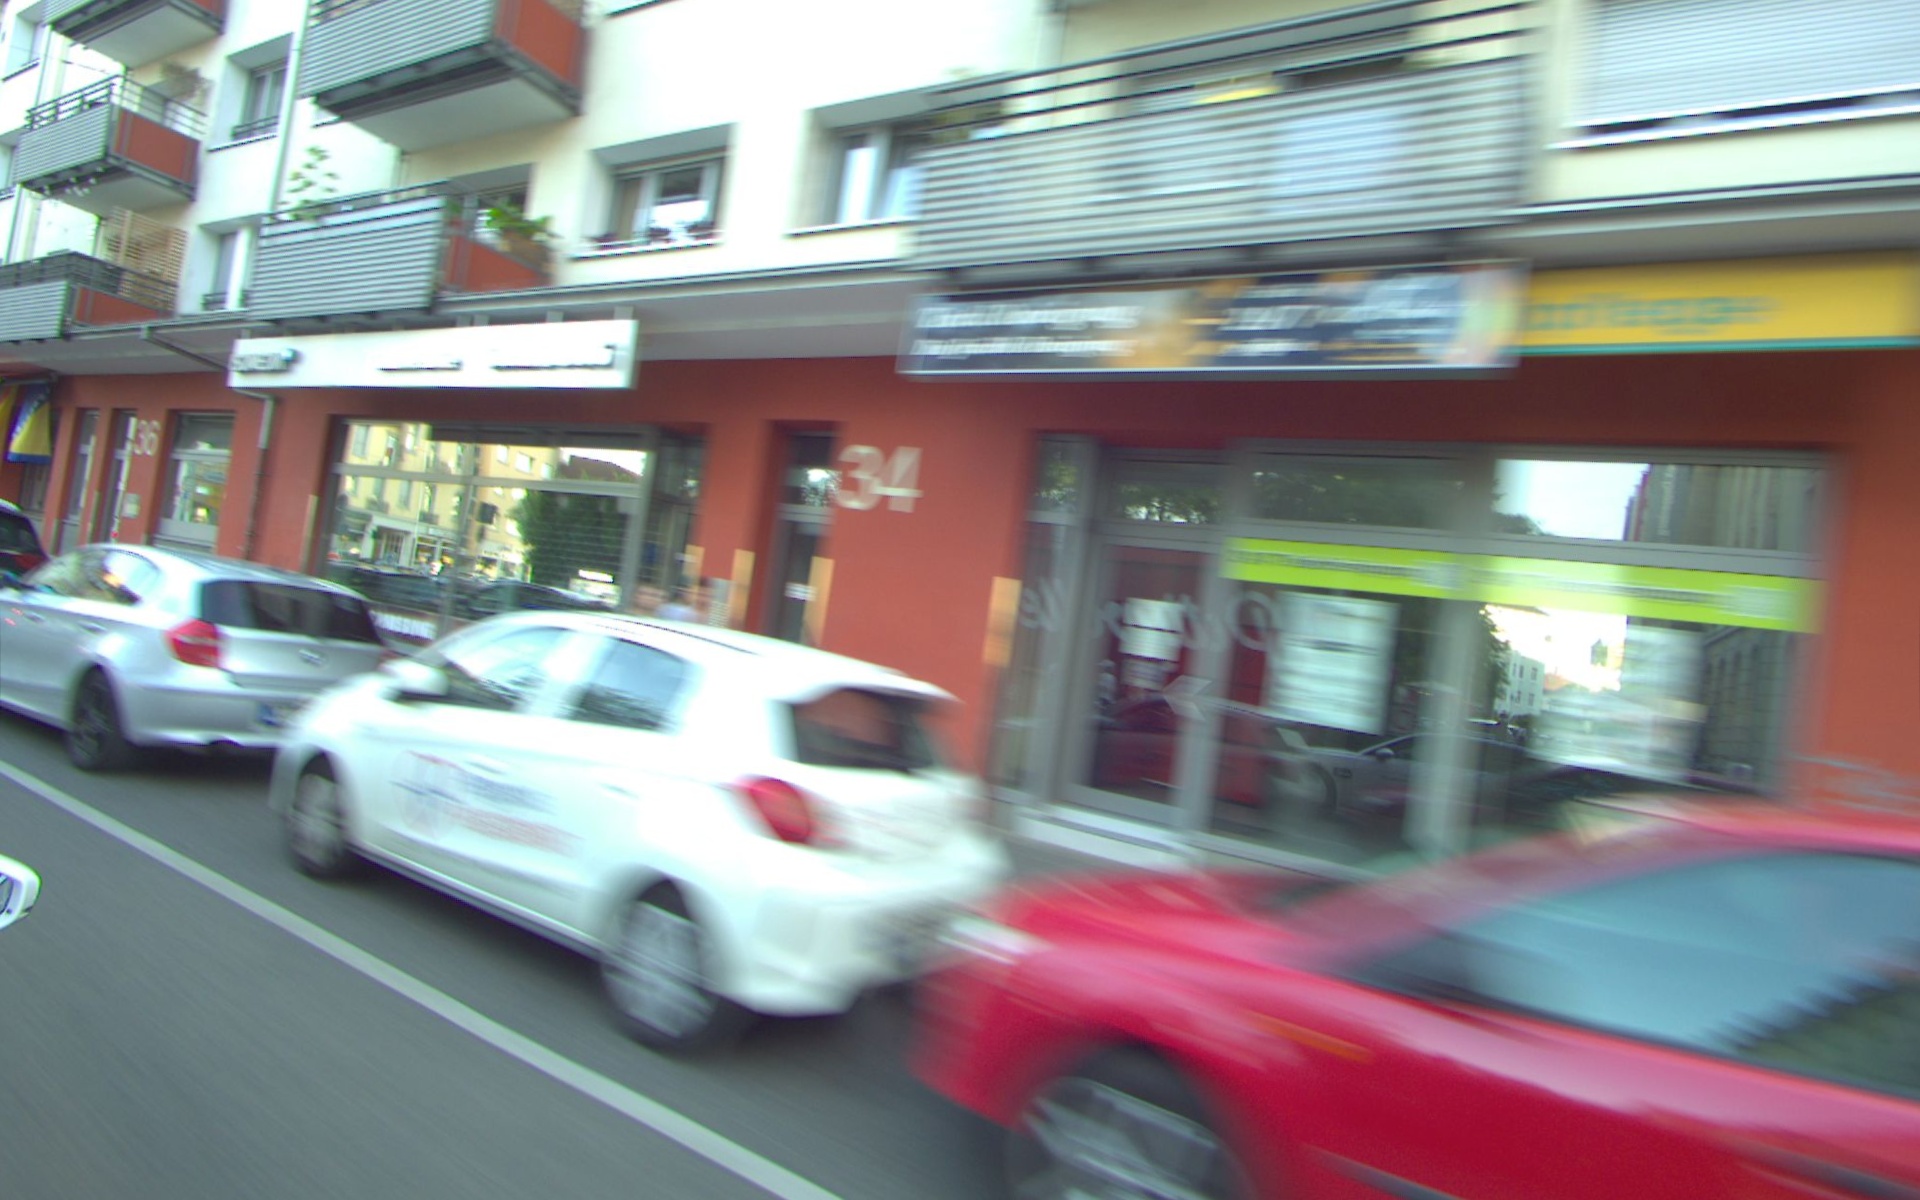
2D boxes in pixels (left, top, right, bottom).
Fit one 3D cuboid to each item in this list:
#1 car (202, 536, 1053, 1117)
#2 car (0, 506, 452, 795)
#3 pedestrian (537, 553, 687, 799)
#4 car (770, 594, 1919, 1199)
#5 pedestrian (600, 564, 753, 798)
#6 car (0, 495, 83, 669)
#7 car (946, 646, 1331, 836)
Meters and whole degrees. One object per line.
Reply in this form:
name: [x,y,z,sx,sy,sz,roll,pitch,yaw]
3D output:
car: [-1.775,0.760,4.922,3.981,1.527,1.612,8,-4,33]
car: [-6.082,0.252,7.591,4.382,1.467,1.705,8,-4,30]
pedestrian: [-2.584,0.548,7.487,0.644,1.682,0.648,7,2,33]
car: [1.955,1.133,2.501,4.572,1.527,1.719,8,-4,30]
pedestrian: [-2.241,0.618,7.957,0.781,1.682,0.648,7,2,33]
car: [-11.599,-0.515,10.802,4.710,1.659,1.771,8,-4,31]
car: [2.014,1.532,11.727,3.935,1.352,1.742,8,-2,34]
